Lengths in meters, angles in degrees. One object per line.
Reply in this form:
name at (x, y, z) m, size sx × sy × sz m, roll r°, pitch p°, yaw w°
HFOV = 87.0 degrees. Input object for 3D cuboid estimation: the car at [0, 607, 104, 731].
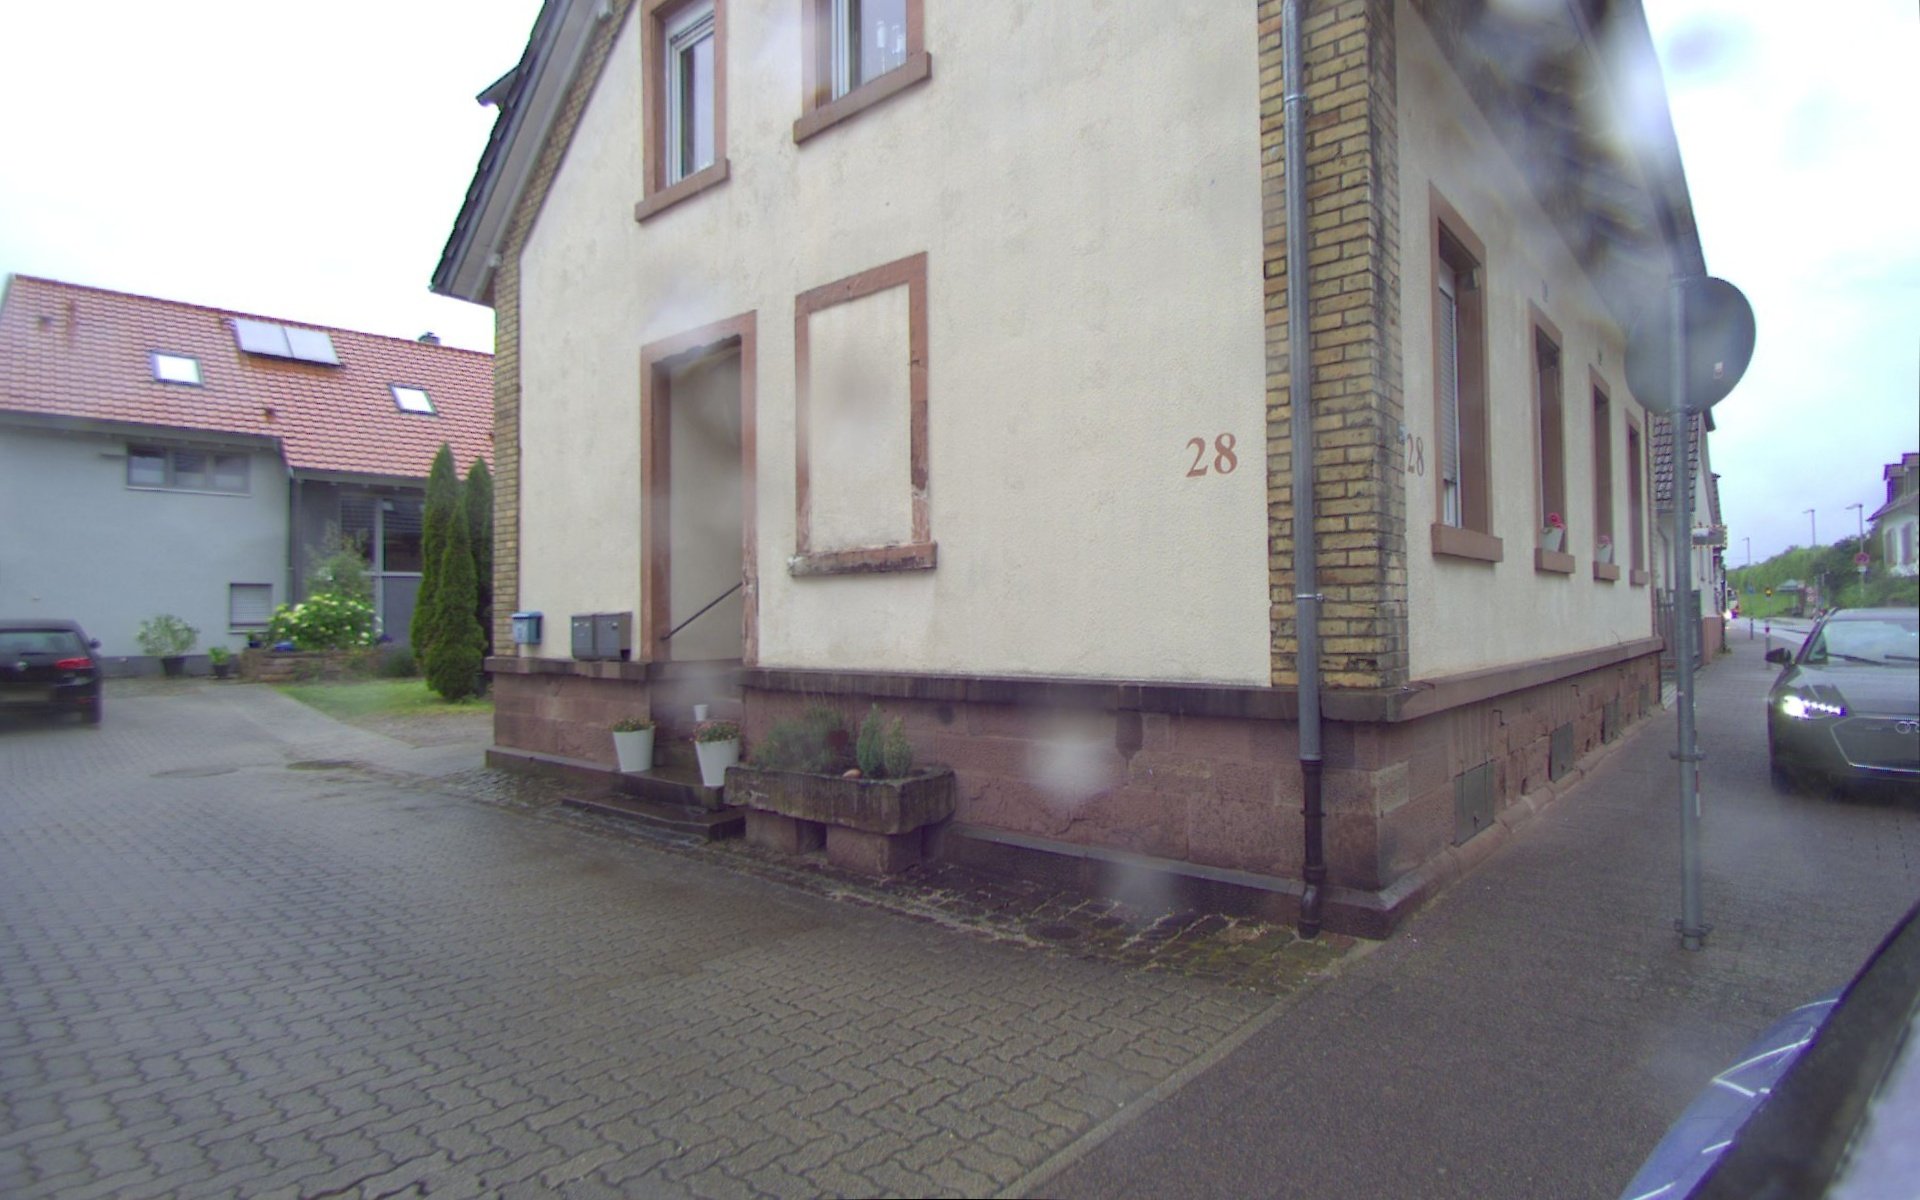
car at (-13.810, 0.937, 15.000) m, size 1.666 × 1.480 × 3.569 m, roll 0°, pitch 2°, yaw -41°

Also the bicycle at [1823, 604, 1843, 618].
bicycle at (58.384, 0.728, 67.693) m, size 0.658 × 0.882 × 1.913 m, roll -3°, pitch -4°, yaw 30°

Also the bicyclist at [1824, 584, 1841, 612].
bicyclist at (58.304, -0.126, 67.648) m, size 0.653 × 1.793 × 0.696 m, roll -3°, pitch -4°, yaw 30°

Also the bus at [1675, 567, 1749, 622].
bus at (52.722, -0.349, 71.264) m, size 3.419 × 3.455 × 13.701 m, roll -2°, pitch -1°, yaw 34°

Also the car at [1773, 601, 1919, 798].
car at (8.164, 0.751, 8.618) m, size 1.773 × 1.374 × 4.126 m, roll -4°, pitch -4°, yaw 40°

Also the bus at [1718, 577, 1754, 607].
bus at (82.484, -0.823, 107.625) m, size 2.799 × 2.977 × 11.779 m, roll -3°, pitch -2°, yaw 37°
